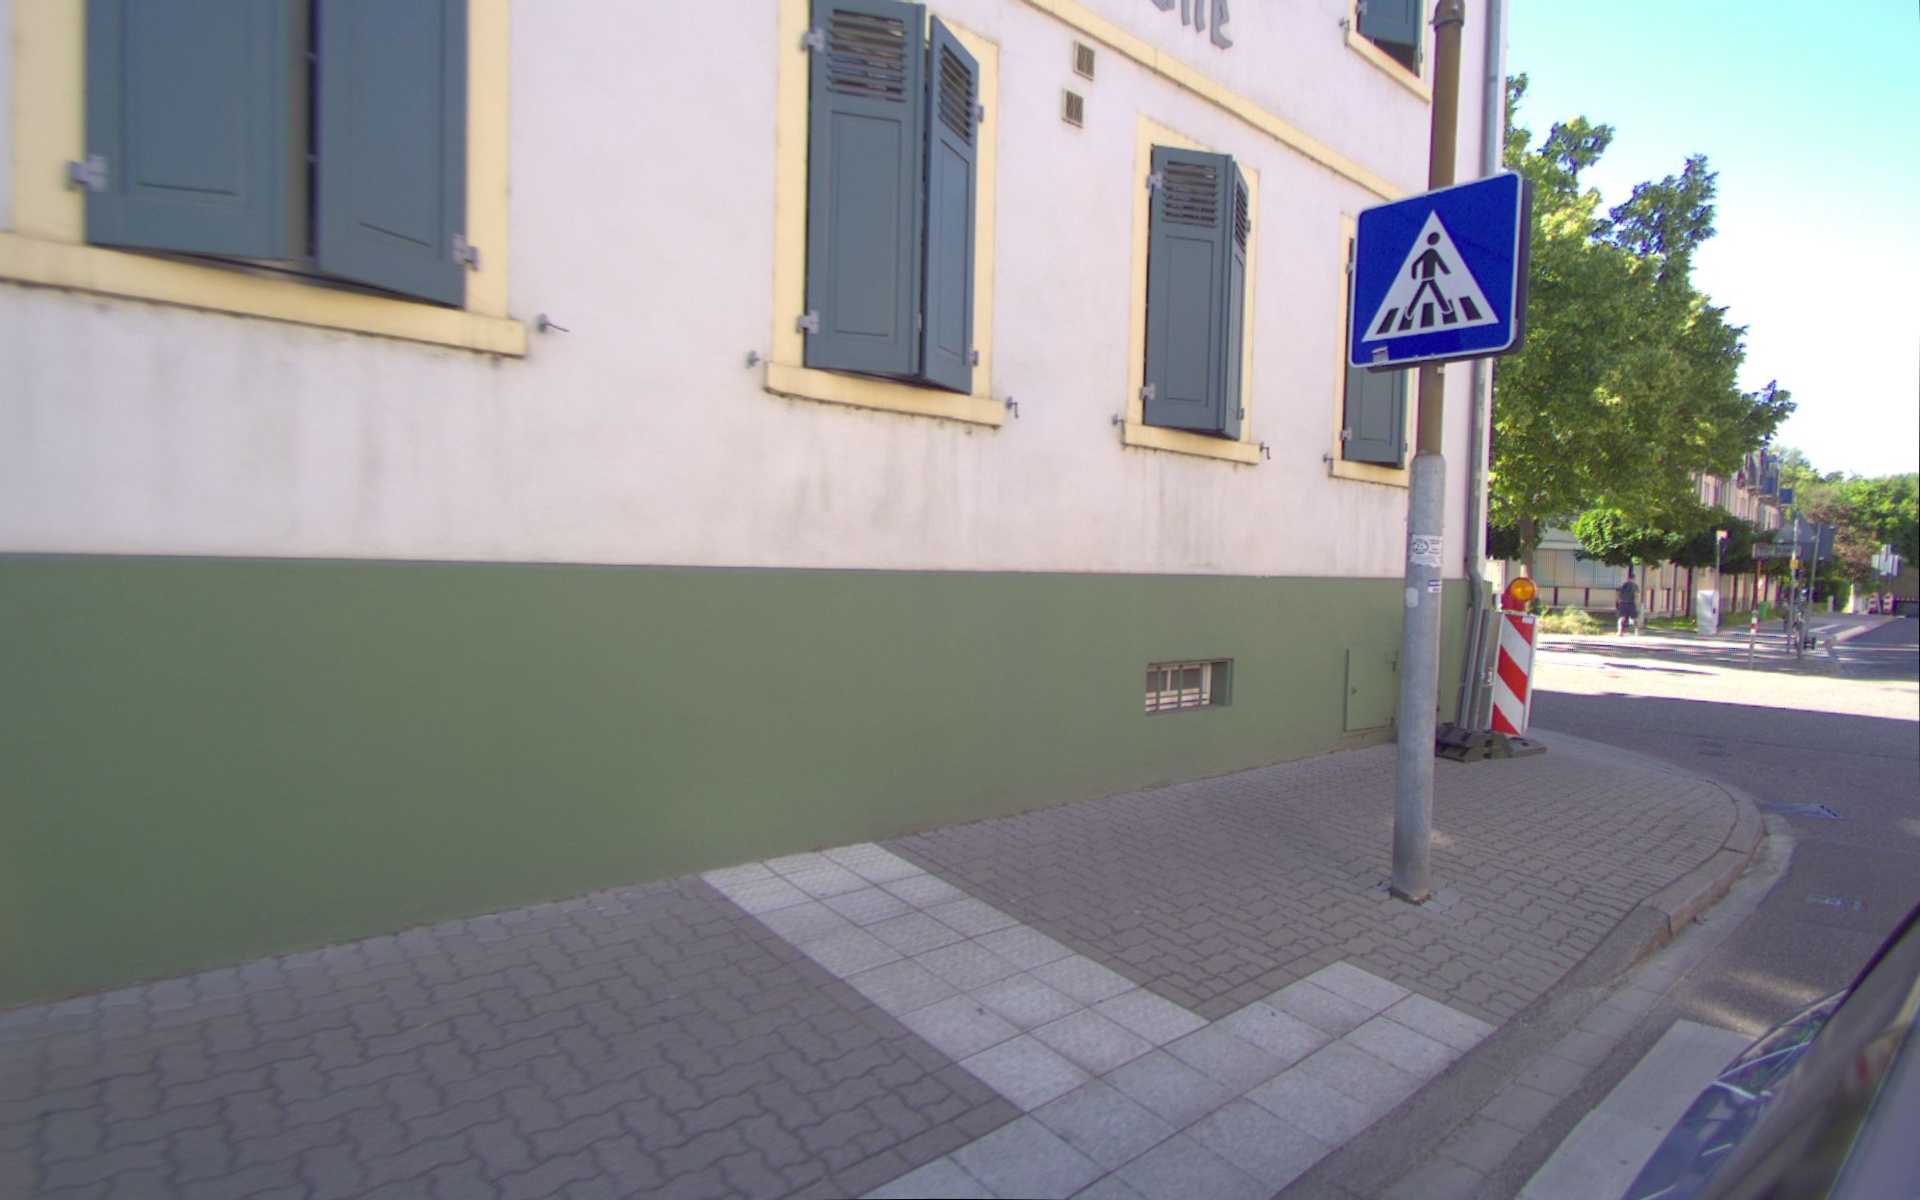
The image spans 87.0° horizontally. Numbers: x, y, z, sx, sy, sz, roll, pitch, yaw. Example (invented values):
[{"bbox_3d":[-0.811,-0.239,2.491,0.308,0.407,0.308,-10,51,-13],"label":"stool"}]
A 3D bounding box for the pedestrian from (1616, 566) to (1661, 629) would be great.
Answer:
[{"bbox_3d":[18.982,-0.078,28.304,0.810,1.738,0.662,0,2,-22],"label":"pedestrian"}]

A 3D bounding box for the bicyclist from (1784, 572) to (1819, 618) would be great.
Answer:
[{"bbox_3d":[29.257,-0.185,35.195,0.899,1.557,0.668,-1,6,-42],"label":"bicyclist"}]

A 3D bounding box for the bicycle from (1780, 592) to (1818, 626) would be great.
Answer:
[{"bbox_3d":[29.196,0.304,35.199,1.786,1.076,0.668,-1,6,-42],"label":"bicycle"}]
